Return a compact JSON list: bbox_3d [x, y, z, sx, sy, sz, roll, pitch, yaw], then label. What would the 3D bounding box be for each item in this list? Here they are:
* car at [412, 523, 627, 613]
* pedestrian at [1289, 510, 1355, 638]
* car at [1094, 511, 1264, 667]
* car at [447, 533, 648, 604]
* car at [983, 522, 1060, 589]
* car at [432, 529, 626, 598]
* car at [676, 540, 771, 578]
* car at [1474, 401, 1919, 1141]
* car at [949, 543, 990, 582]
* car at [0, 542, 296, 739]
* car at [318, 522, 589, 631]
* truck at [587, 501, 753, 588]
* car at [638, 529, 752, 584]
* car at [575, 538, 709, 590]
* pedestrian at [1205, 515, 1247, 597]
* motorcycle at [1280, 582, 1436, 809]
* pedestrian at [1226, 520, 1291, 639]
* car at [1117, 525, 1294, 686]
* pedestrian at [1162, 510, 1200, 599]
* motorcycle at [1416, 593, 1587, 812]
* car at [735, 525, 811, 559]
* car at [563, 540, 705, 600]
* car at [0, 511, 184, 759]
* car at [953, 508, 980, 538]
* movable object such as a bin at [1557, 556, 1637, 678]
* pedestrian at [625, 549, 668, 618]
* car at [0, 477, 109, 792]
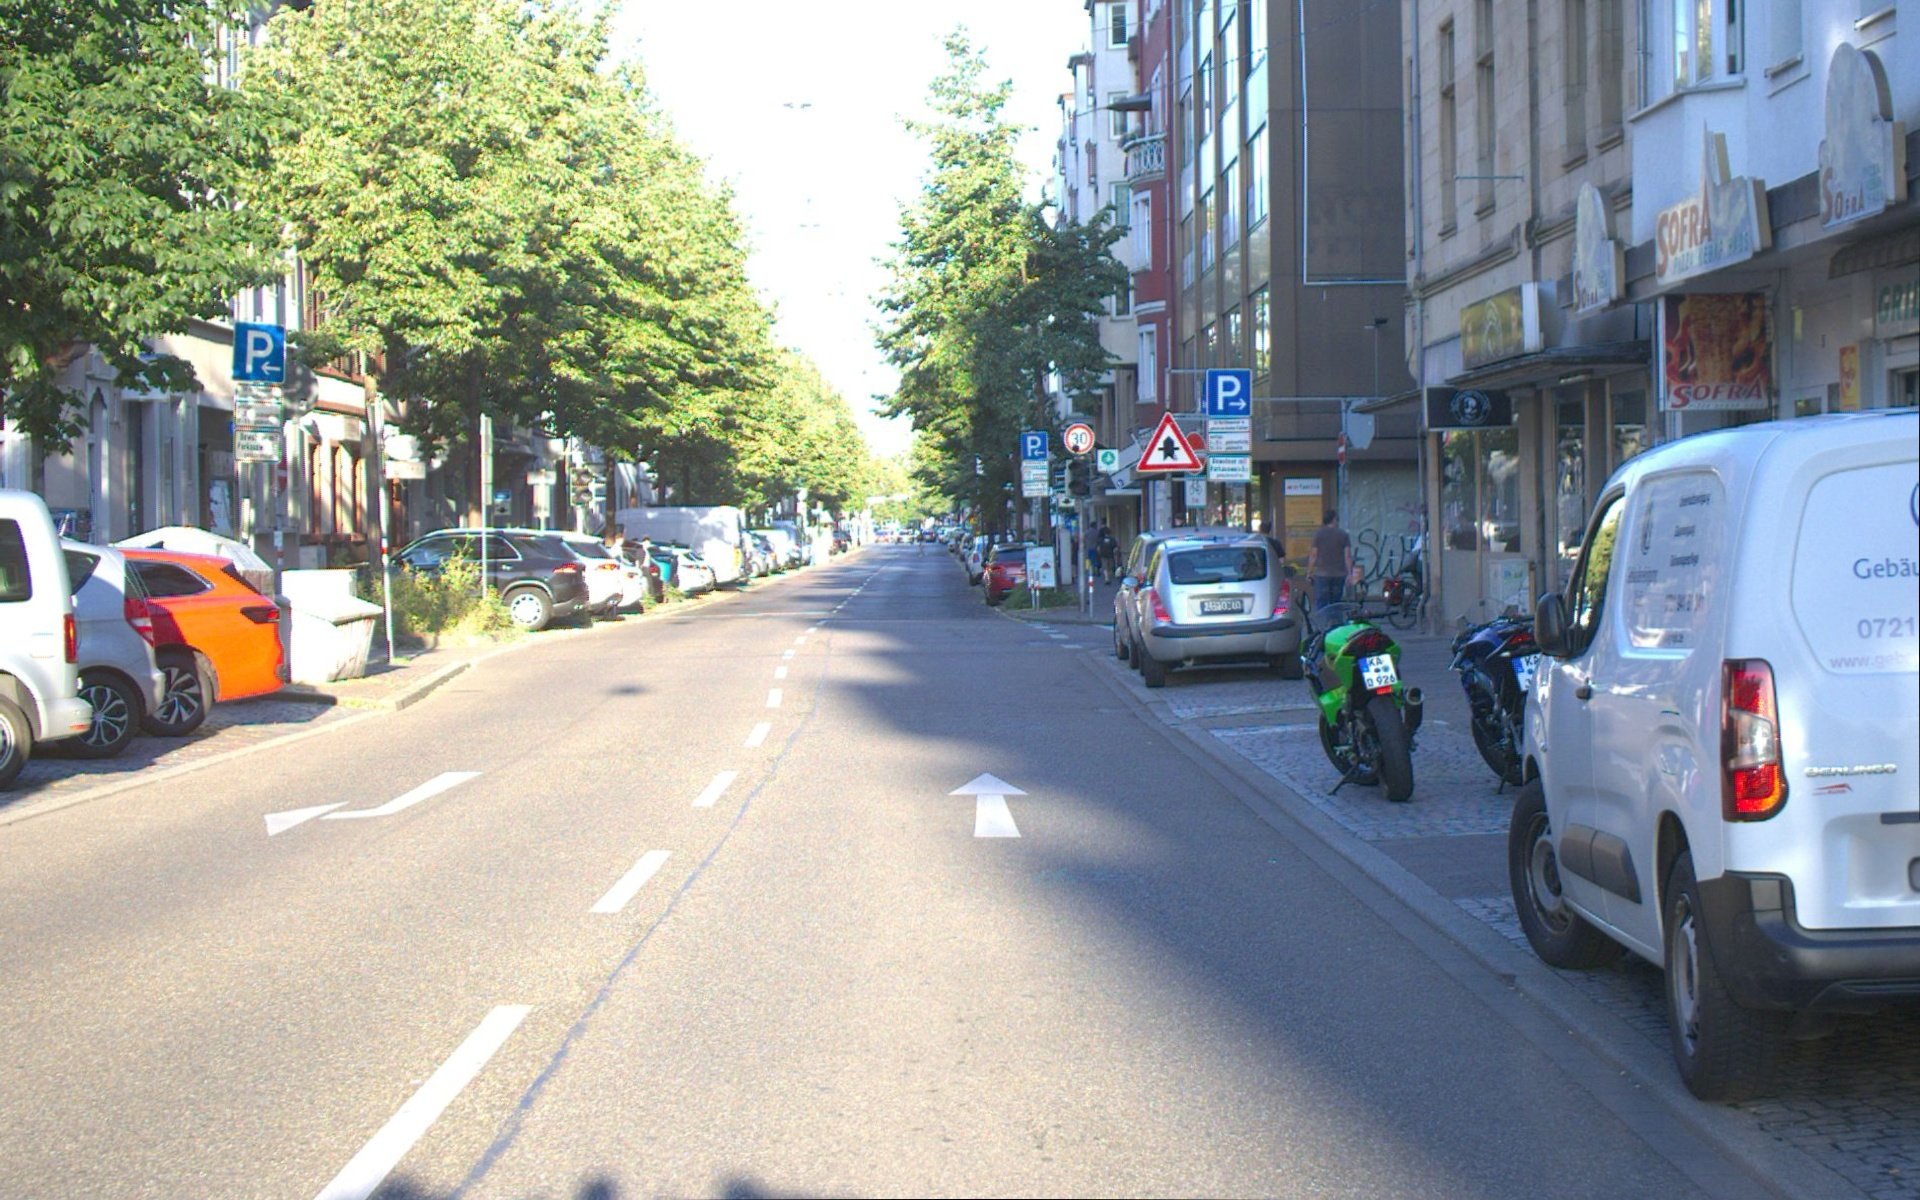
[{"bbox_3d":[-8.570,-0.644,67.088,3.989,1.702,1.833,0,1,-1],"label":"car"},{"bbox_3d":[5.057,-0.372,48.142,0.755,1.761,1.222,0,1,-1],"label":"pedestrian"},{"bbox_3d":[2.603,-0.181,41.647,1.696,1.763,4.001,-1,2,-1],"label":"car"},{"bbox_3d":[-8.975,-0.697,75.043,4.175,1.502,2.000,1,1,-1],"label":"car"},{"bbox_3d":[1.490,-1.086,83.882,1.576,1.537,3.397,-3,1,-3],"label":"car"},{"bbox_3d":[-10.363,-0.879,82.813,4.426,1.594,2.000,1,1,-1],"label":"car"},{"bbox_3d":[-9.560,-1.655,139.264,3.739,1.487,2.000,-1,1,-1],"label":"car"},{"bbox_3d":[2.763,0.372,10.644,1.710,1.828,4.306,0,1,0],"label":"car"},{"bbox_3d":[0.313,-1.250,115.750,1.206,1.296,2.661,0,0,-3],"label":"car"},{"bbox_3d":[-7.509,0.300,27.213,3.987,1.480,2.000,-1,1,-29],"label":"car"},{"bbox_3d":[-8.808,-0.427,60.028,4.448,1.828,2.034,0,2,-1],"label":"car"},{"bbox_3d":[-8.947,-1.731,106.368,4.940,2.606,2.000,1,1,-1],"label":"truck"},{"bbox_3d":[-9.001,-1.489,117.107,3.739,1.852,2.000,0,1,-1],"label":"car"},{"bbox_3d":[-9.244,-1.057,100.071,3.739,1.445,2.000,1,1,-1],"label":"car"},{"bbox_3d":[5.546,-0.915,71.752,0.765,1.683,0.786,-1,1,-3],"label":"pedestrian"},{"bbox_3d":[2.311,0.522,20.183,0.588,1.196,2.210,-2,2,-1],"label":"motorcycle"},{"bbox_3d":[4.176,-0.302,48.126,0.755,1.634,1.259,0,1,-1],"label":"pedestrian"},{"bbox_3d":[2.583,0.012,36.903,1.680,1.555,4.000,-2,2,2],"label":"car"},{"bbox_3d":[4.614,-0.956,71.726,0.714,1.859,0.680,0,1,-3],"label":"pedestrian"},{"bbox_3d":[3.058,0.549,19.576,0.588,1.119,2.210,0,1,-1],"label":"motorcycle"},{"bbox_3d":[-9.419,-2.924,173.034,3.739,1.702,2.000,0,1,-1],"label":"car"},{"bbox_3d":[-8.995,-0.842,95.076,3.739,1.590,2.000,1,1,-1],"label":"car"},{"bbox_3d":[-7.606,0.220,23.780,3.987,1.690,1.749,0,1,-36],"label":"car"},{"bbox_3d":[0.327,-4.178,186.438,1.308,1.594,2.661,0,0,-3],"label":"car"},{"bbox_3d":[5.769,0.150,31.170,0.596,1.081,0.664,0,1,1],"label":"movable object such as a bin"},{"bbox_3d":[-7.729,-0.407,84.694,0.721,1.677,0.757,0,1,-40],"label":"pedestrian"},{"bbox_3d":[-7.310,0.194,20.393,3.988,1.871,1.871,-1,2,-36],"label":"car"}]
